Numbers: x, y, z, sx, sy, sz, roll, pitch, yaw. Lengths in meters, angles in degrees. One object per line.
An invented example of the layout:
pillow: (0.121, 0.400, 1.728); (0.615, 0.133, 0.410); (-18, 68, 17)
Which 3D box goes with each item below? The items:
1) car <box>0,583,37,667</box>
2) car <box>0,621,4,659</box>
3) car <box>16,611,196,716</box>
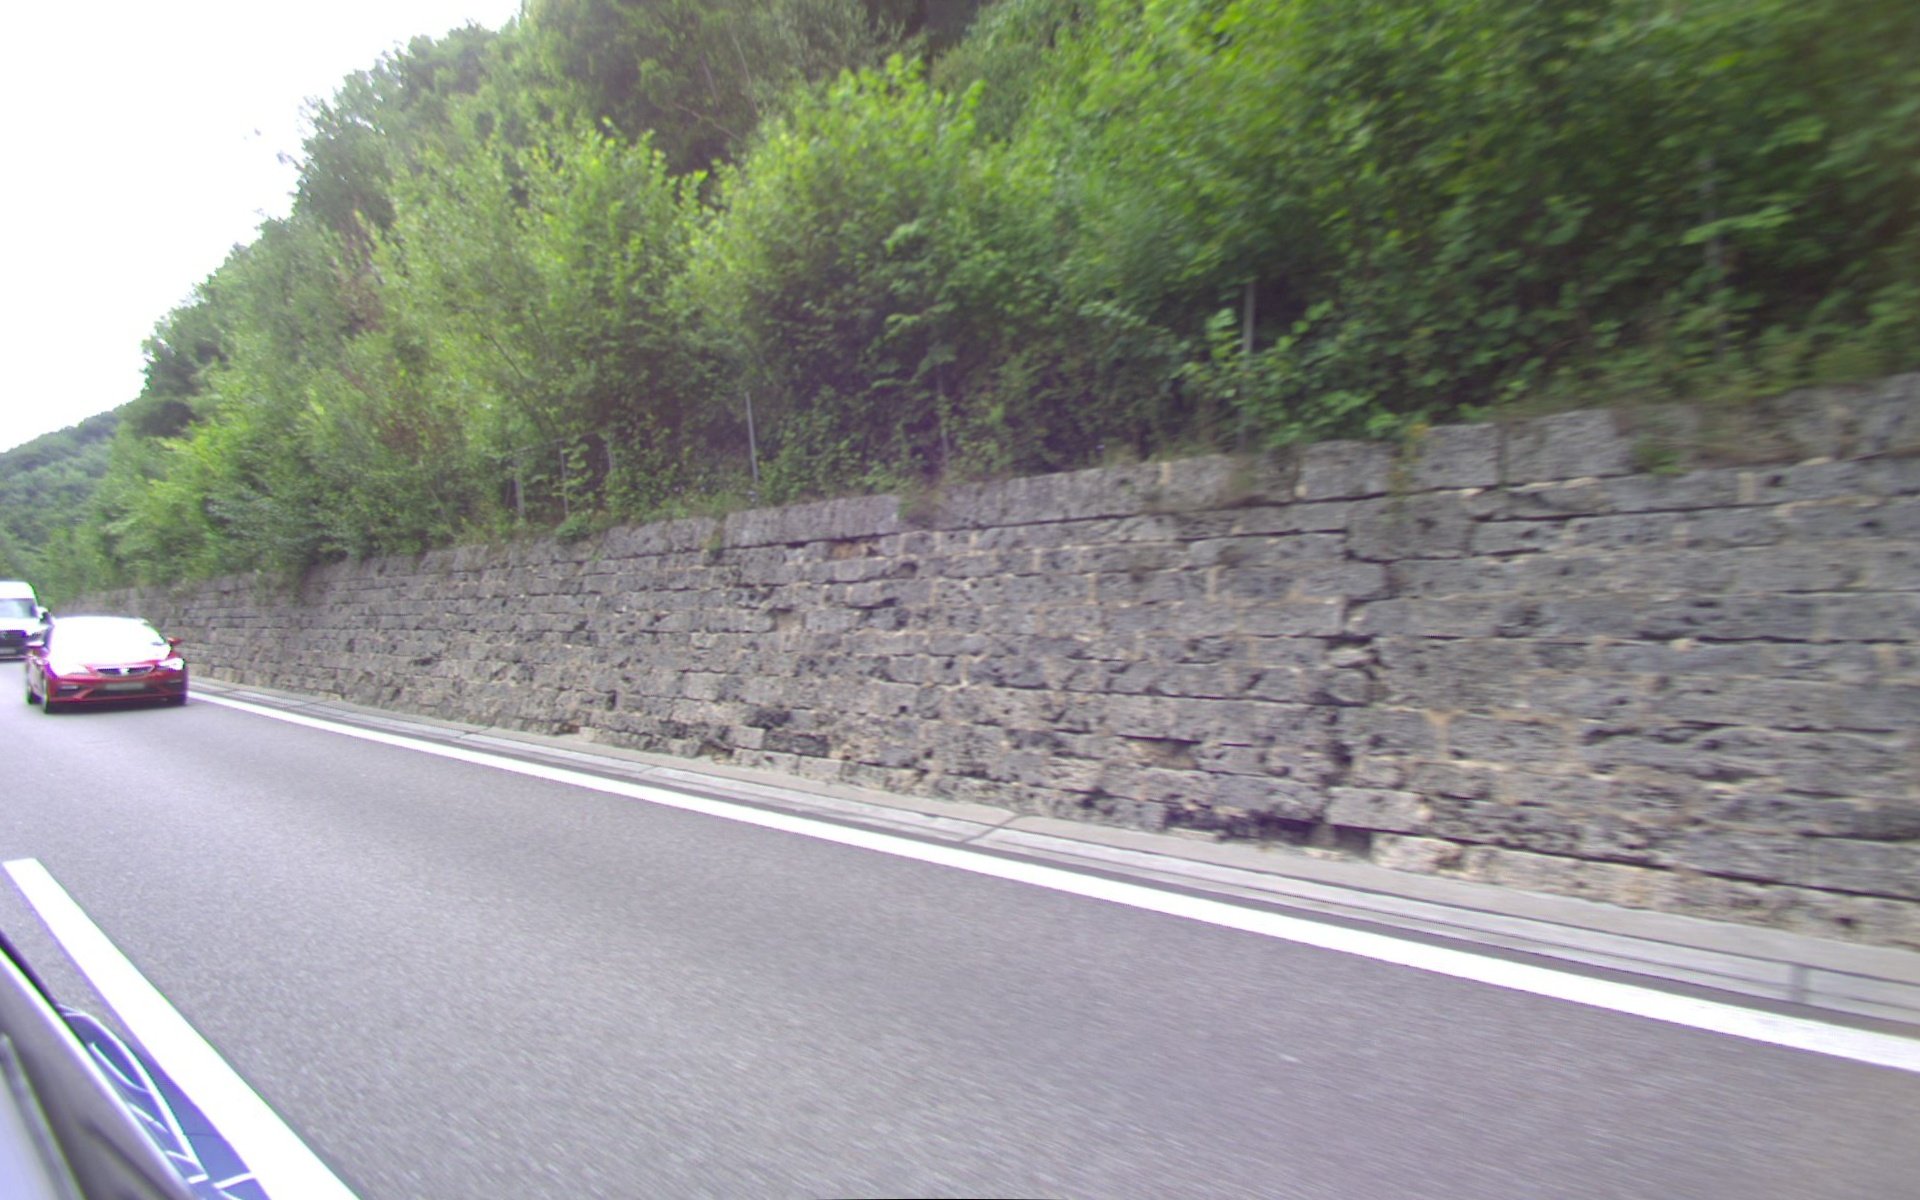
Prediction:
car: (-32.118, 0.824, 33.607); (2.002, 2.605, 6.279); (-1, 0, -44)
car: (-52.305, 2.167, 53.856); (1.970, 1.967, 6.153); (-3, 1, -44)
car: (-14.080, 0.936, 16.597); (4.411, 1.471, 1.747); (-1, 0, 43)
